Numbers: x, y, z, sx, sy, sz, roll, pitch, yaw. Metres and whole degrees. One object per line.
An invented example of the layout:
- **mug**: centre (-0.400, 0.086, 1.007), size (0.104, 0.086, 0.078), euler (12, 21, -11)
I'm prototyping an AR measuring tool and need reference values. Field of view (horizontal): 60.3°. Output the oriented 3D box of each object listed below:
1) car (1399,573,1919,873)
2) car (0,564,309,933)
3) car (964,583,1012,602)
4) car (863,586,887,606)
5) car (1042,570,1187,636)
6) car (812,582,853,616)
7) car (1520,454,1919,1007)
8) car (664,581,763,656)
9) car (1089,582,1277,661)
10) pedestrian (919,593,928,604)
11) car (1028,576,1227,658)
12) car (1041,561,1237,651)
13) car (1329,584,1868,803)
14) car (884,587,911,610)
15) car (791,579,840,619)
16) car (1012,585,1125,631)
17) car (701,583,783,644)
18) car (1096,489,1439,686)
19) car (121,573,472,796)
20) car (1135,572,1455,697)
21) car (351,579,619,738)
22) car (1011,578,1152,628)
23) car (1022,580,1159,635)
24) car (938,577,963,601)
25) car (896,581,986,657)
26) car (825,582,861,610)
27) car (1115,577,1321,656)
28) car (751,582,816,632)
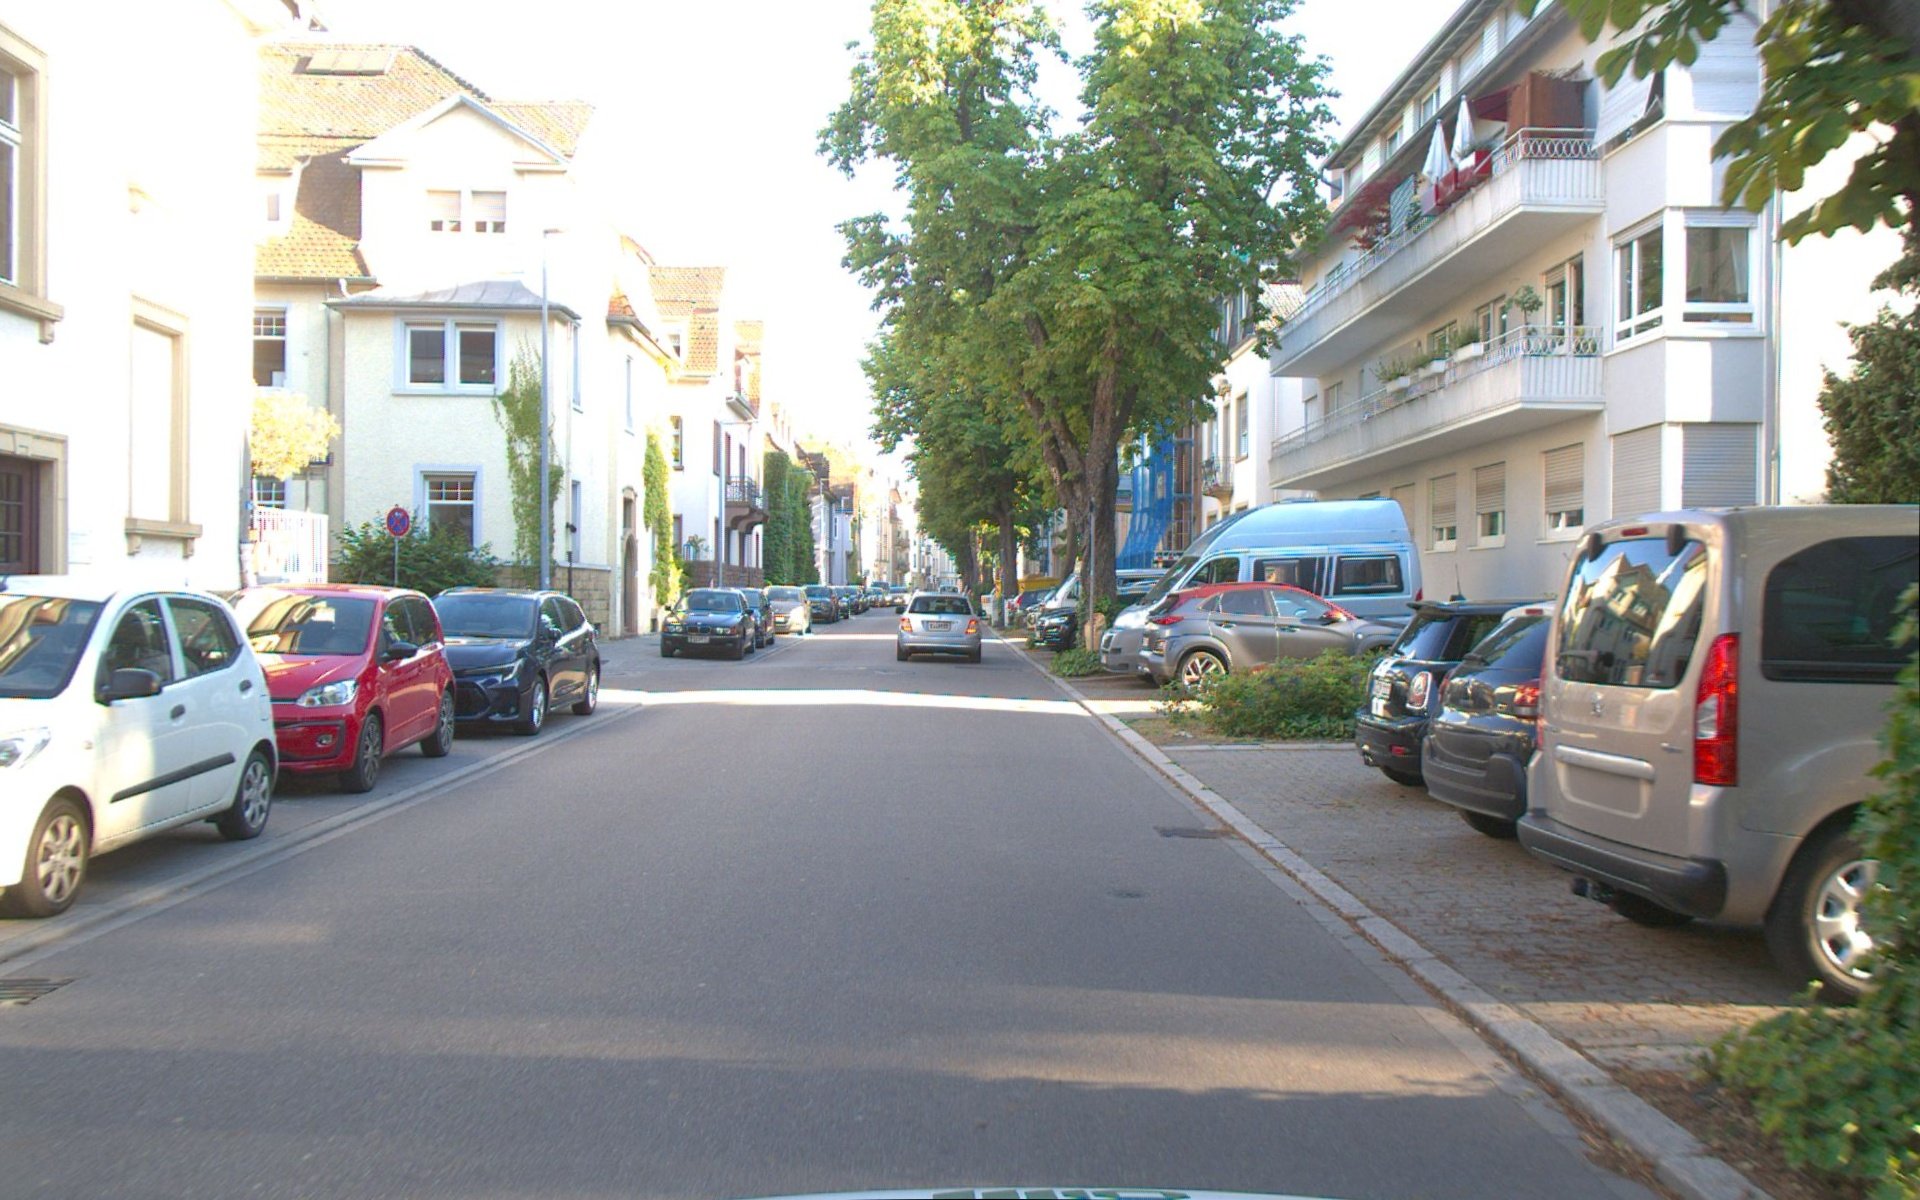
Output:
- **car**: centre (4.923, 0.628, 9.690), size (4.216, 1.568, 1.757), euler (0, 1, -4)
- **car**: centre (-4.873, 0.591, 8.657), size (1.550, 1.547, 3.705), euler (2, 0, -2)
- **car**: centre (2.481, -0.658, 144.069), size (4.103, 1.501, 1.852), euler (-2, 0, 1)
- **car**: centre (-6.502, -0.286, 126.667), size (1.620, 1.470, 3.960), euler (2, 0, 0)
- **car**: centre (4.233, 0.079, 45.633), size (3.867, 1.712, 1.706), euler (-1, 1, 2)
- **car**: centre (-5.857, -0.065, 76.455), size (1.757, 1.487, 4.774), euler (2, 1, -3)
- **car**: centre (4.703, 0.446, 6.782), size (4.216, 1.918, 1.757), euler (0, 0, -4)
- **car**: centre (-5.381, 0.364, 36.579), size (1.675, 1.495, 4.631), euler (2, 0, -3)
- **car**: centre (4.589, 0.433, 34.306), size (3.646, 1.581, 1.638), euler (0, 0, -3)
- **pedestrian**: centre (-5.600, -0.218, 252.790), size (1.195, 1.752, 1.504), euler (1, 0, 2)
- **car**: centre (3.667, 0.359, 36.566), size (4.097, 1.754, 1.763), euler (0, 0, -8)
- **car**: centre (4.201, 0.144, 39.237), size (4.380, 2.049, 1.895), euler (0, 0, -3)
- **car**: centre (4.622, 0.639, 12.329), size (3.333, 1.452, 1.758), euler (-1, 1, -1)
- **car**: centre (-4.273, -0.109, 113.349), size (1.736, 1.474, 3.999), euler (0, 1, -1)
- **car**: centre (-5.736, -0.042, 65.932), size (1.620, 1.511, 3.764), euler (2, 0, -1)
- **car**: centre (3.822, 0.280, 58.789), size (3.905, 1.518, 1.851), euler (-1, 0, 0)
- **car**: centre (-5.527, 0.309, 42.292), size (1.620, 1.440, 4.166), euler (2, 0, -2)
- **car**: centre (4.756, -0.209, 26.135), size (4.992, 2.953, 2.075), euler (-1, 0, -2)
- **car**: centre (-5.126, 0.568, 13.282), size (1.550, 1.502, 3.703), euler (2, 0, -5)
- **car**: centre (4.657, 0.455, 23.370), size (4.105, 1.596, 1.758), euler (-1, 0, -3)
- **car**: centre (-5.030, 0.538, 18.160), size (1.620, 1.479, 4.630), euler (2, 0, -1)
- **car**: centre (4.108, 0.081, 56.398), size (4.622, 1.562, 1.851), euler (-1, 0, -1)
- **car**: centre (4.007, 0.222, 51.367), size (4.071, 1.566, 1.850), euler (-1, 0, -1)
- **car**: centre (-0.601, -0.731, 108.879), size (1.590, 1.597, 3.680), euler (1, 1, 0)
- **car**: centre (-0.390, 0.390, 34.765), size (1.747, 1.462, 3.850), euler (1, 0, 0)
- **car**: centre (-6.201, -0.224, 87.884), size (1.616, 1.445, 4.098), euler (2, 0, -1)
- **car**: centre (4.915, 0.323, 31.792), size (3.646, 1.456, 1.758), euler (0, -1, -3)
- **car**: centre (-5.508, 0.184, 51.974), size (1.620, 1.472, 4.004), euler (2, 0, -1)
